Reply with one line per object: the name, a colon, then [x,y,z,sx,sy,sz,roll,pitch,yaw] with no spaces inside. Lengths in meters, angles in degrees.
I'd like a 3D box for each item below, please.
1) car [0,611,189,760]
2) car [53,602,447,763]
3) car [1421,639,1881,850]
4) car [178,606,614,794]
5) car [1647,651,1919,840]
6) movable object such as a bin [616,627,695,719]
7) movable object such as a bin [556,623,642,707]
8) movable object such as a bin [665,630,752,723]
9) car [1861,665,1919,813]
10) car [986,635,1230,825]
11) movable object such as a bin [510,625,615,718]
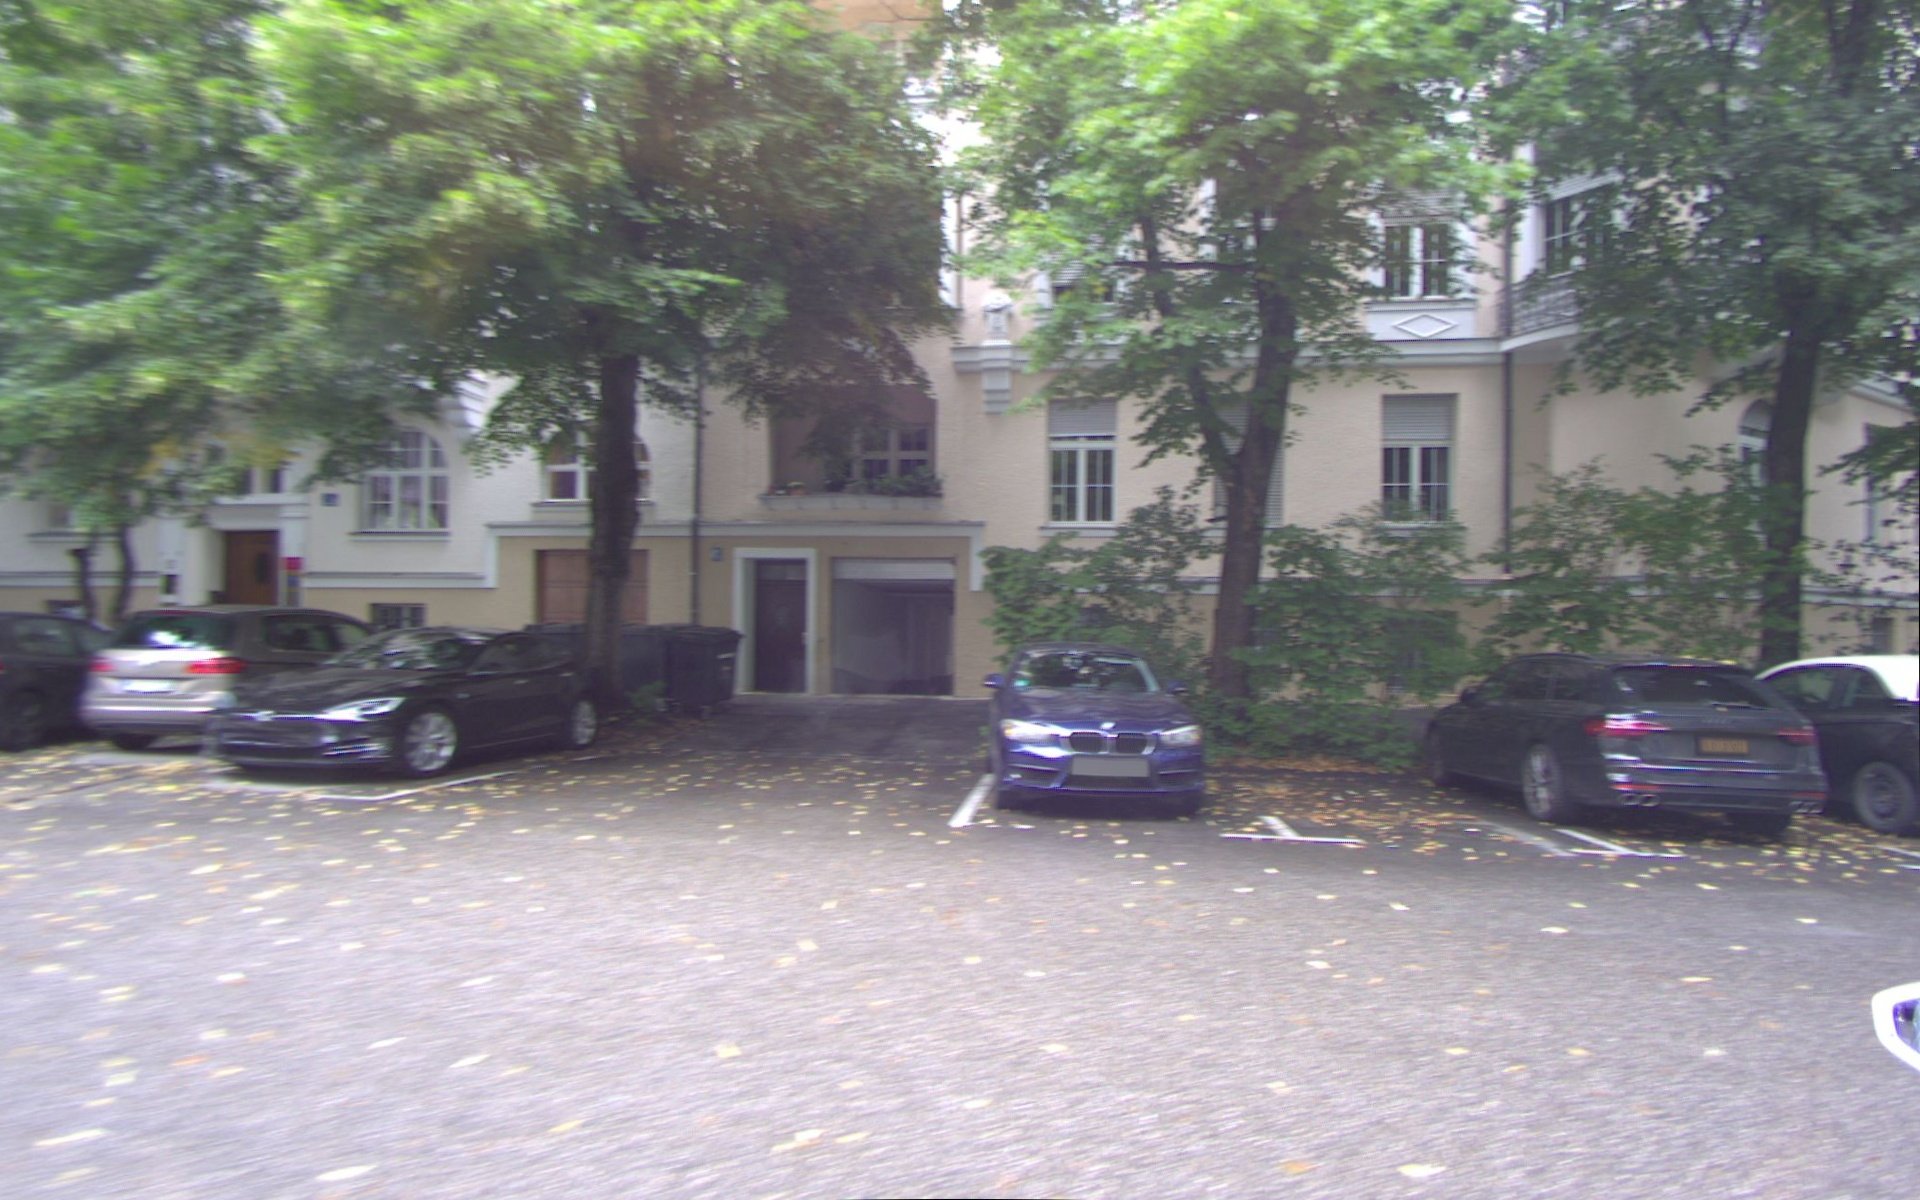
car: [-10.831,0.862,11.507,1.768,1.450,3.987,2,-1,-16]
car: [-8.064,0.872,11.970,1.808,1.550,4.025,1,-2,0]
car: [5.841,1.164,9.233,1.826,1.443,4.168,0,-4,9]
car: [-5.468,0.964,10.534,1.675,1.485,4.293,2,-3,7]
car: [8.465,1.299,9.398,1.796,1.443,3.754,1,-5,7]
movable object such as a bin: [-4.793,1.122,15.894,0.700,1.365,1.374,1,-1,5]
movable object such as a bin: [-6.139,1.091,17.133,1.099,1.366,0.864,2,0,3]
movable object such as a bin: [-3.846,1.148,15.491,0.848,1.322,1.433,3,-1,3]
car: [10.700,1.317,8.923,1.767,1.532,4.291,1,-5,6]
car: [1.177,1.075,9.759,1.808,1.401,4.344,1,-3,1]
movable object such as a bin: [-6.249,1.099,15.865,1.130,1.366,1.157,2,-1,3]
